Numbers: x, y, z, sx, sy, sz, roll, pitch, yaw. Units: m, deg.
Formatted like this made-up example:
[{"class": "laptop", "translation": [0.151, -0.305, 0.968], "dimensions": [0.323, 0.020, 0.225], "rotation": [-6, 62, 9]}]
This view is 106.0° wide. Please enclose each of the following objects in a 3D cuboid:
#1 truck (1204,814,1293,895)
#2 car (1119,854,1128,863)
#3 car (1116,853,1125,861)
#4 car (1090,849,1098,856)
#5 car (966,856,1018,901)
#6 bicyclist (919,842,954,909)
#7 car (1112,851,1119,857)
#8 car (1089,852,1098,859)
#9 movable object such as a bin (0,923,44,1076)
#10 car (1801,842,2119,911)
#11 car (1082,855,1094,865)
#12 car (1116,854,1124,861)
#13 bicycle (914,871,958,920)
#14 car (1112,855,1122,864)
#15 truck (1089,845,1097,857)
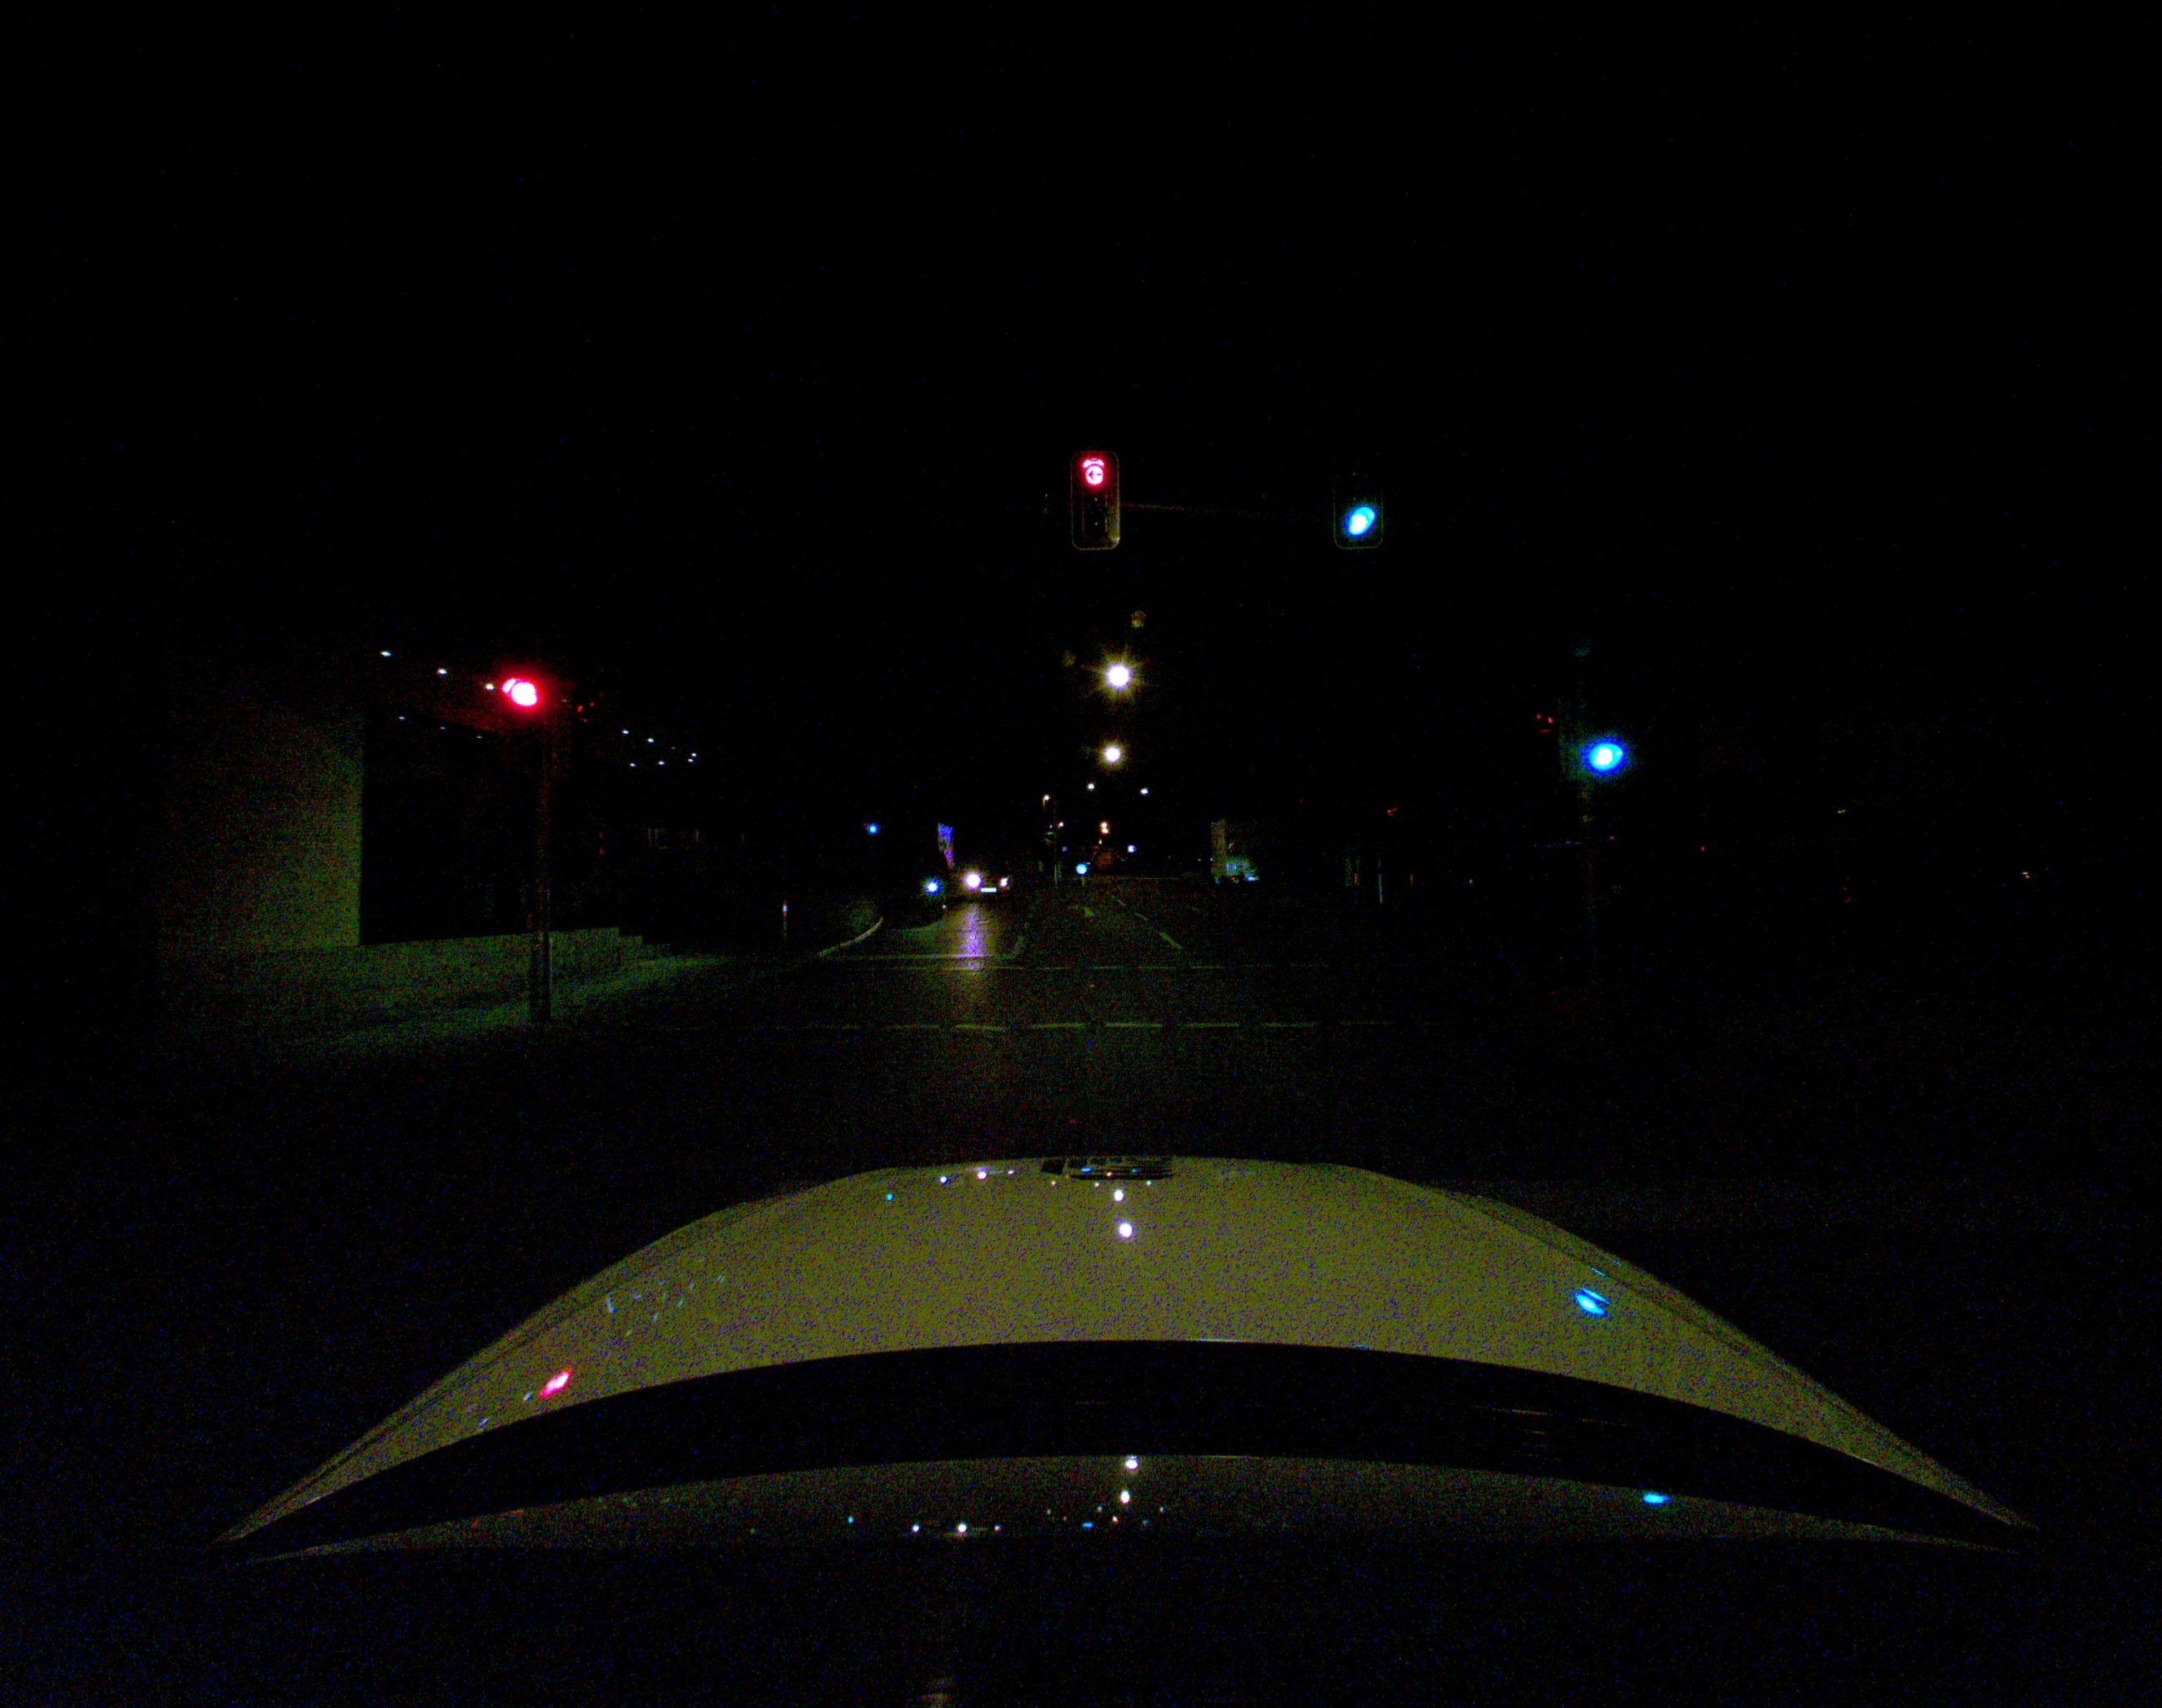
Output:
[{"class": "truck", "translation": [6.947, 0.019, 34.573], "dimensions": [2.738, 3.110, 6.262], "rotation": [0, 0, 2]}, {"class": "car", "translation": [7.471, 0.812, 143.392], "dimensions": [1.628, 1.452, 3.486], "rotation": [0, 0, 2]}, {"class": "car", "translation": [7.456, 0.636, 153.136], "dimensions": [1.628, 1.452, 3.486], "rotation": [0, 0, 2]}, {"class": "car", "translation": [2.980, -0.342, 187.148], "dimensions": [1.809, 1.491, 4.000], "rotation": [0, 0, 0]}, {"class": "car", "translation": [-3.157, 0.827, 29.344], "dimensions": [1.577, 1.501, 3.393], "rotation": [-1, 0, -2]}, {"class": "bicyclist", "translation": [-3.621, 0.531, 20.438], "dimensions": [0.688, 1.637, 0.896], "rotation": [-1, -1, 1]}, {"class": "car", "translation": [8.166, 0.089, 191.549], "dimensions": [1.628, 1.452, 3.486], "rotation": [0, 0, 2]}, {"class": "car", "translation": [2.417, 0.301, 160.745], "dimensions": [1.809, 1.491, 4.000], "rotation": [0, 0, 0]}, {"class": "movable object such as a bin", "translation": [-7.928, 1.033, 5.694], "dimensions": [0.633, 1.049, 0.657], "rotation": [-1, -1, 19]}, {"class": "car", "translation": [17.320, 0.450, 16.265], "dimensions": [4.107, 1.280, 1.770], "rotation": [-1, -1, 9]}, {"class": "car", "translation": [1.182, 0.997, 134.620], "dimensions": [1.808, 1.684, 4.002], "rotation": [0, 0, 2]}, {"class": "car", "translation": [7.591, 0.697, 159.322], "dimensions": [1.628, 1.452, 3.486], "rotation": [0, 0, 2]}, {"class": "bicycle", "translation": [-3.616, 1.010, 20.410], "dimensions": [0.693, 1.149, 1.951], "rotation": [-1, -1, 2]}, {"class": "car", "translation": [6.049, 0.937, 137.734], "dimensions": [1.587, 1.476, 3.655], "rotation": [0, 0, 2]}, {"class": "truck", "translation": [3.120, -0.731, 209.801], "dimensions": [2.079, 2.848, 5.831], "rotation": [0, 0, 0]}]
